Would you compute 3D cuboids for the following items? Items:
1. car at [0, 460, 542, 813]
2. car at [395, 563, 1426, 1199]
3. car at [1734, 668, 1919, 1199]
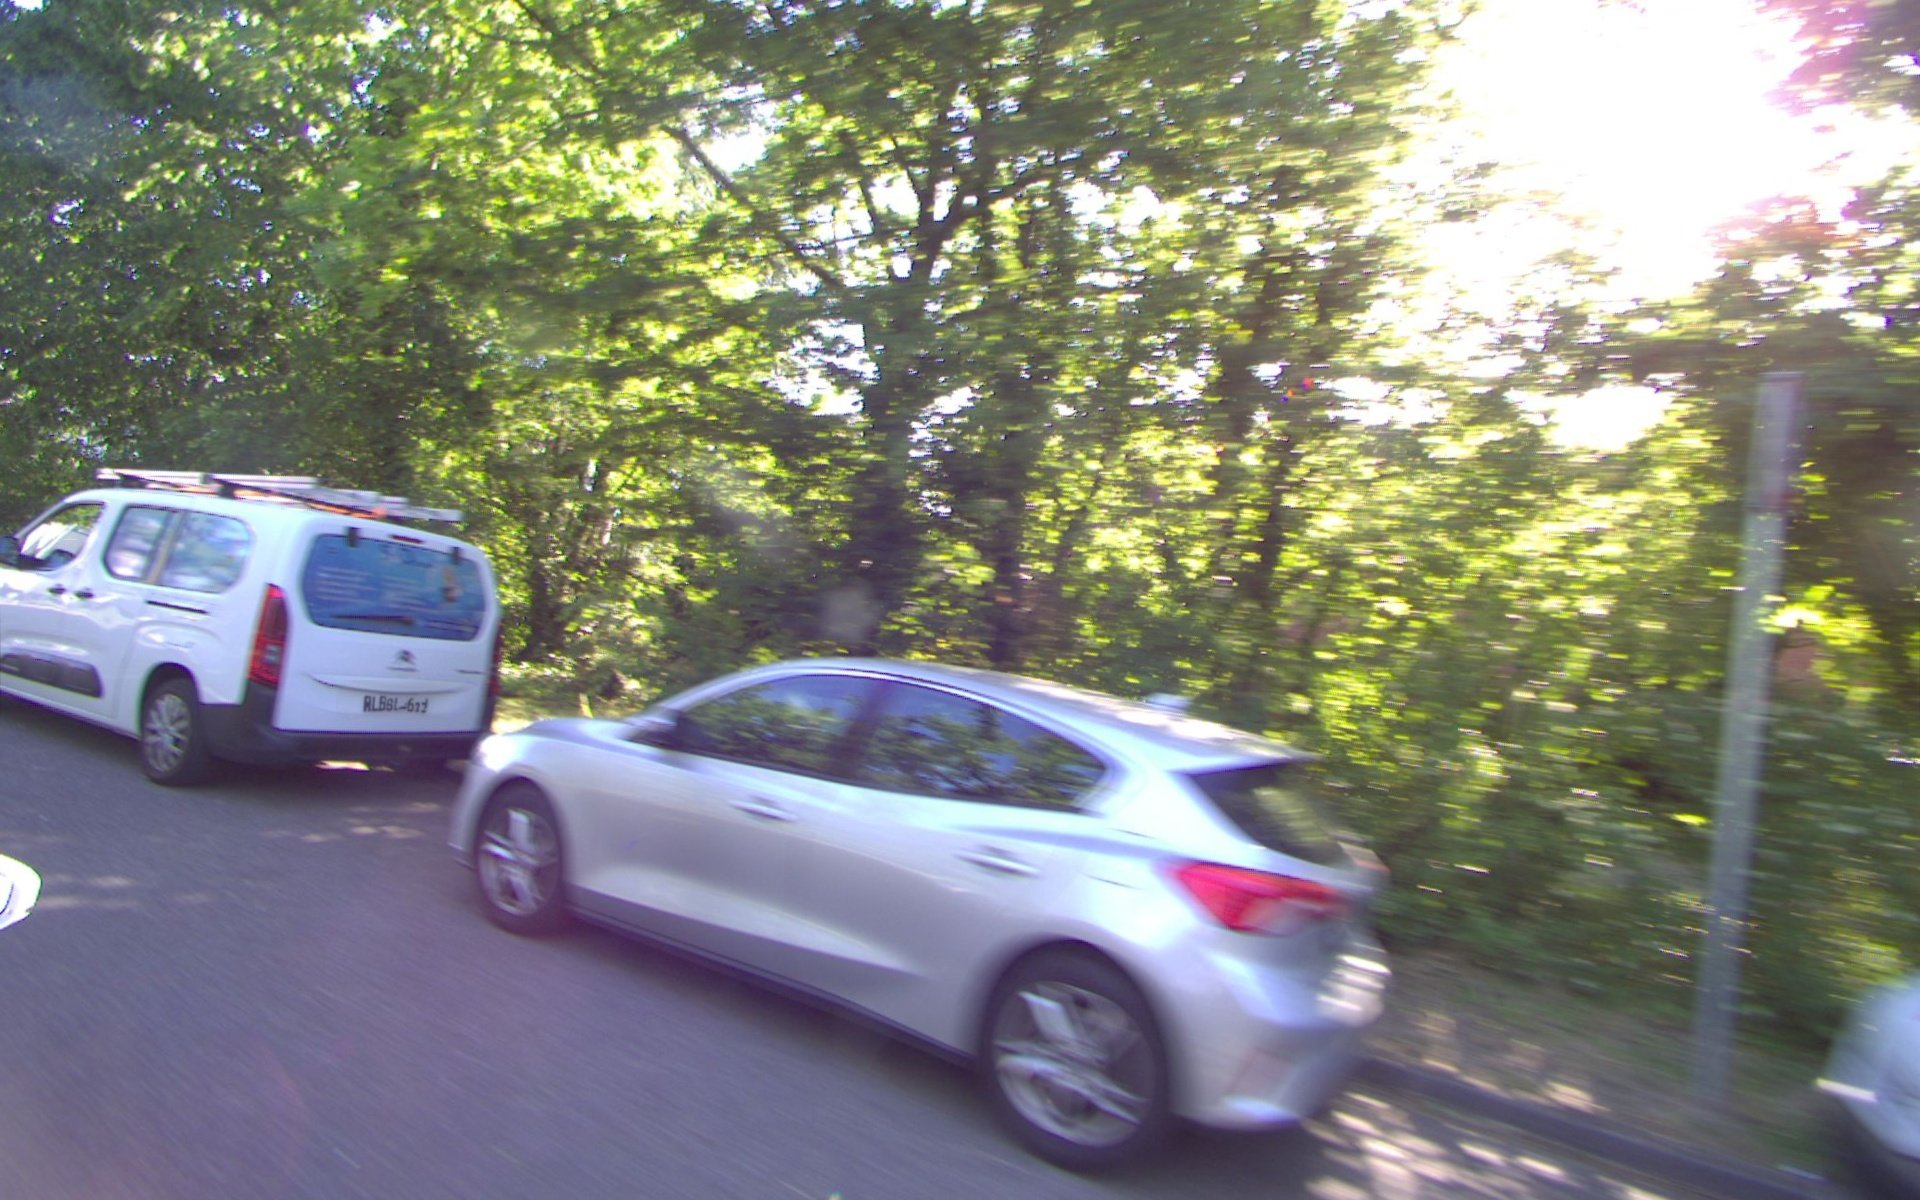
[{"bbox_3d":[-5.511,0.145,7.410,4.476,1.804,1.798,7,-3,27],"label":"car"},{"bbox_3d":[-0.359,0.906,4.444,4.135,1.528,1.697,7,-3,30],"label":"car"},{"bbox_3d":[3.837,1.285,1.747,3.606,1.792,1.628,7,-3,30],"label":"car"}]
